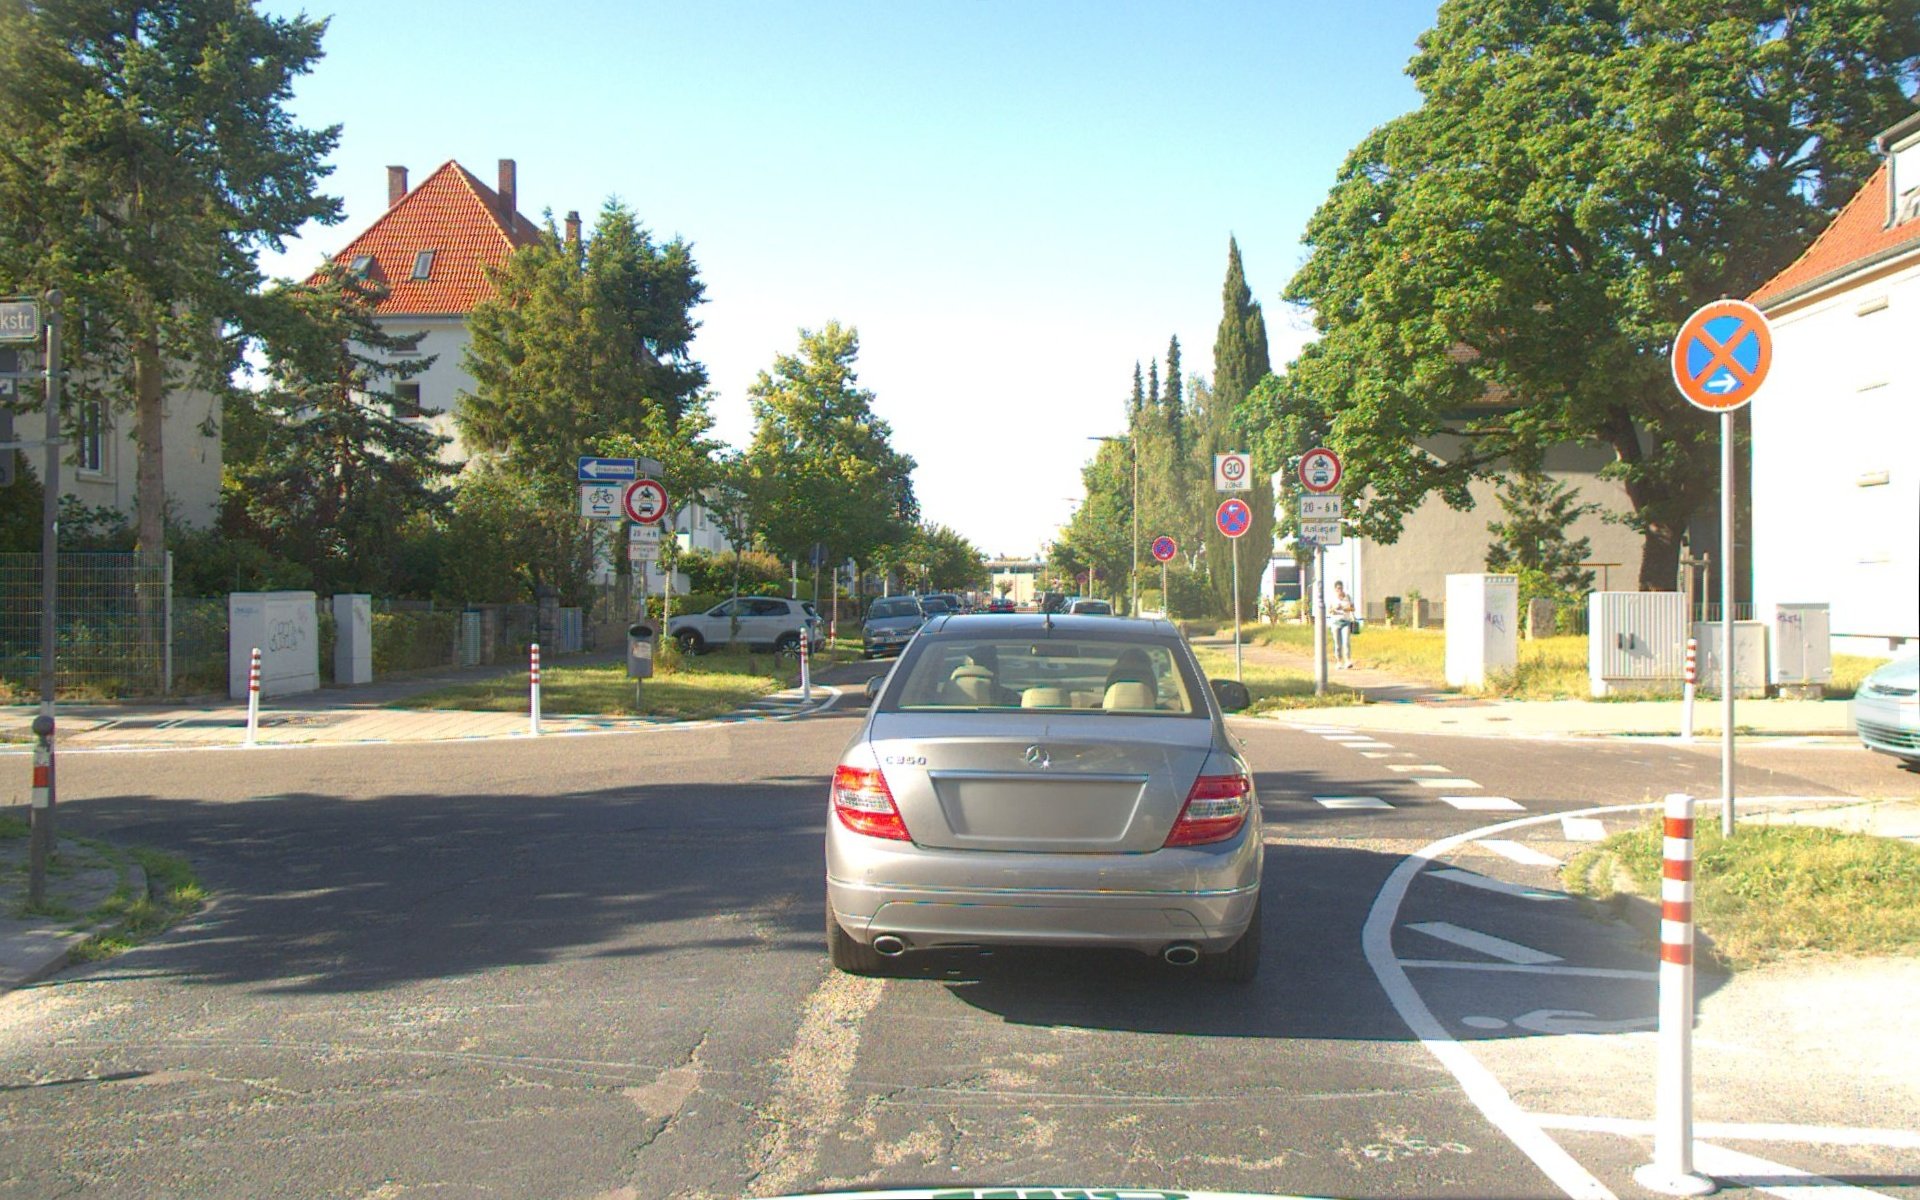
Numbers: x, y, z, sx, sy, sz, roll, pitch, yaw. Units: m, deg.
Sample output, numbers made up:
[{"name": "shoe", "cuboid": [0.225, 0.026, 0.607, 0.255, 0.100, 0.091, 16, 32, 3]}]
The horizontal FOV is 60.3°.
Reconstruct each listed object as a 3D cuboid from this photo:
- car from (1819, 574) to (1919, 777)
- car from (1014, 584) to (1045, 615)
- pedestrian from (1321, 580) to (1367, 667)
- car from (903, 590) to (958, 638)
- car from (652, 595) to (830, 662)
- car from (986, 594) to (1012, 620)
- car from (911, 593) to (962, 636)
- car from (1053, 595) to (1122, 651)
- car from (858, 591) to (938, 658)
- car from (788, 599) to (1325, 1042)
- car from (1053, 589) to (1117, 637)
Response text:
[{"name": "car", "cuboid": [9.831, 0.575, 13.988, 4.145, 1.636, 1.889, -1, 0, 3]}, {"name": "car", "cuboid": [4.314, -0.030, 103.189, 1.816, 1.873, 4.001, -1, 0, 1]}, {"name": "pedestrian", "cuboid": [7.380, 0.441, 31.784, 0.750, 1.639, 0.835, -1, 0, 7]}, {"name": "car", "cuboid": [-1.097, 0.515, 63.263, 1.953, 1.637, 4.000, -4, 0, 0]}, {"name": "car", "cuboid": [-5.300, 0.677, 40.402, 4.107, 1.591, 1.842, 0, 0, -1]}, {"name": "car", "cuboid": [2.519, 0.440, 106.791, 1.564, 1.638, 3.644, -1, 0, 0]}, {"name": "car", "cuboid": [-0.959, 0.574, 69.057, 1.953, 1.637, 4.000, -4, 0, 0]}, {"name": "car", "cuboid": [3.635, 0.630, 47.620, 1.698, 1.505, 3.725, -1, 0, 0]}, {"name": "car", "cuboid": [-1.664, 0.631, 45.457, 1.953, 1.637, 4.000, -4, 0, 0]}, {"name": "car", "cuboid": [0.424, 0.736, 7.559, 1.798, 1.466, 4.002, 0, 0, 3]}, {"name": "car", "cuboid": [4.368, 0.434, 58.460, 1.953, 1.638, 4.000, -1, 0, 0]}]
